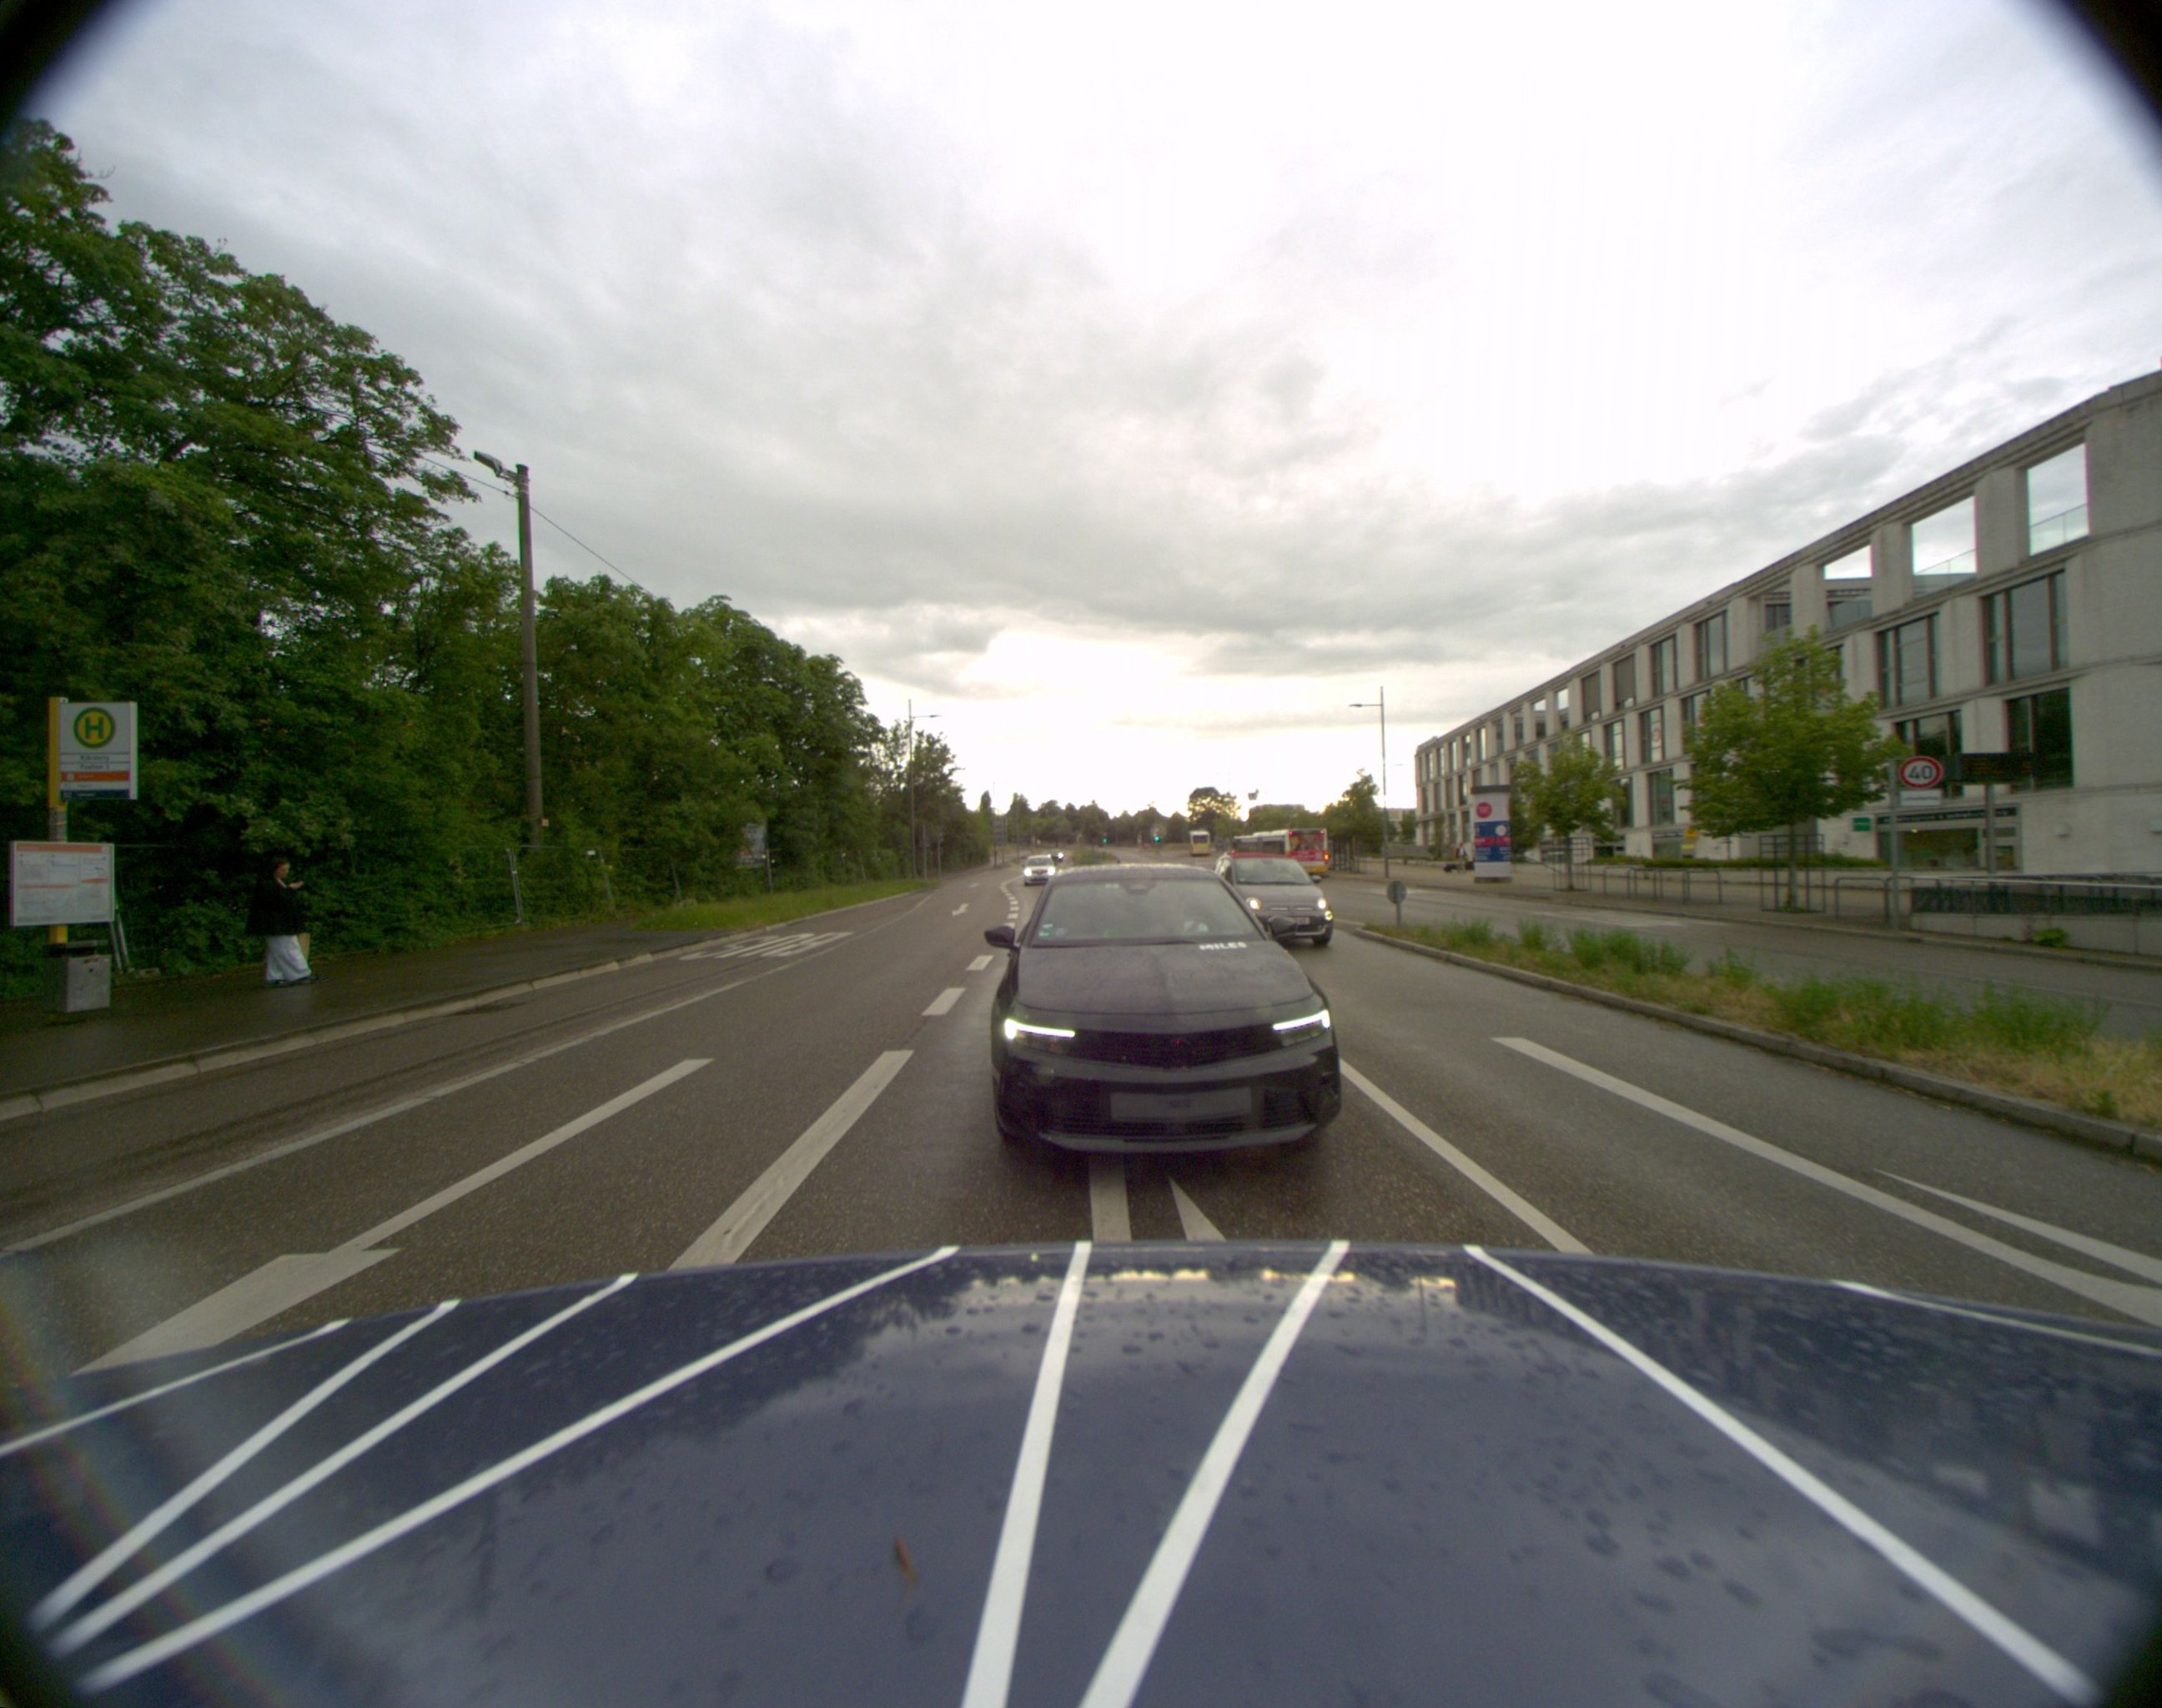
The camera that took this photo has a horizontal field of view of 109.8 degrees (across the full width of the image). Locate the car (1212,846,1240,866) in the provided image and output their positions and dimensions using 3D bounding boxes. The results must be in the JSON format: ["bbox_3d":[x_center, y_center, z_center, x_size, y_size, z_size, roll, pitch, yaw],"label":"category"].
[{"bbox_3d":[13.579,0.150,71.527,1.867,1.777,3.999,-2,1,1],"label":"car"}]

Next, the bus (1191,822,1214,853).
[{"bbox_3d":[18.392,-2.439,114.004,2.757,4.129,19.359,-2,1,11],"label":"bus"}]

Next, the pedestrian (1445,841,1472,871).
[{"bbox_3d":[20.933,0.107,42.165,0.867,1.572,0.983,-2,1,-10],"label":"pedestrian"}]

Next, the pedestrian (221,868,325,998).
[{"bbox_3d":[-10.557,1.009,9.949,0.588,1.618,0.661,-1,1,1],"label":"pedestrian"}]

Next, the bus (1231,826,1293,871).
[{"bbox_3d":[14.113,-0.460,60.031,2.693,3.163,9.912,-2,1,2],"label":"bus"}]

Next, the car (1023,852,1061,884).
[{"bbox_3d":[-2.092,0.722,41.302,1.901,1.524,4.766,-2,1,-2],"label":"car"}]

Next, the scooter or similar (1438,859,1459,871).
[{"bbox_3d":[20.526,0.630,42.439,0.641,0.648,0.832,-1,1,-13],"label":"scooter or similar"}]

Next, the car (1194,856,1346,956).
[{"bbox_3d":[3.150,0.797,13.342,1.631,1.473,3.505,-1,1,-3],"label":"car"}]

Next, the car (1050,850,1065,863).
[{"bbox_3d":[-3.109,0.336,101.510,1.934,1.649,4.617,-1,0,-2],"label":"car"}]

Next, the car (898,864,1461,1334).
[{"bbox_3d":[0.376,0.888,5.017,1.901,1.456,4.767,-2,1,1],"label":"car"}]

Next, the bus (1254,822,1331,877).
[{"bbox_3d":[13.822,-0.320,50.526,2.759,3.194,9.207,-2,1,2],"label":"bus"}]
